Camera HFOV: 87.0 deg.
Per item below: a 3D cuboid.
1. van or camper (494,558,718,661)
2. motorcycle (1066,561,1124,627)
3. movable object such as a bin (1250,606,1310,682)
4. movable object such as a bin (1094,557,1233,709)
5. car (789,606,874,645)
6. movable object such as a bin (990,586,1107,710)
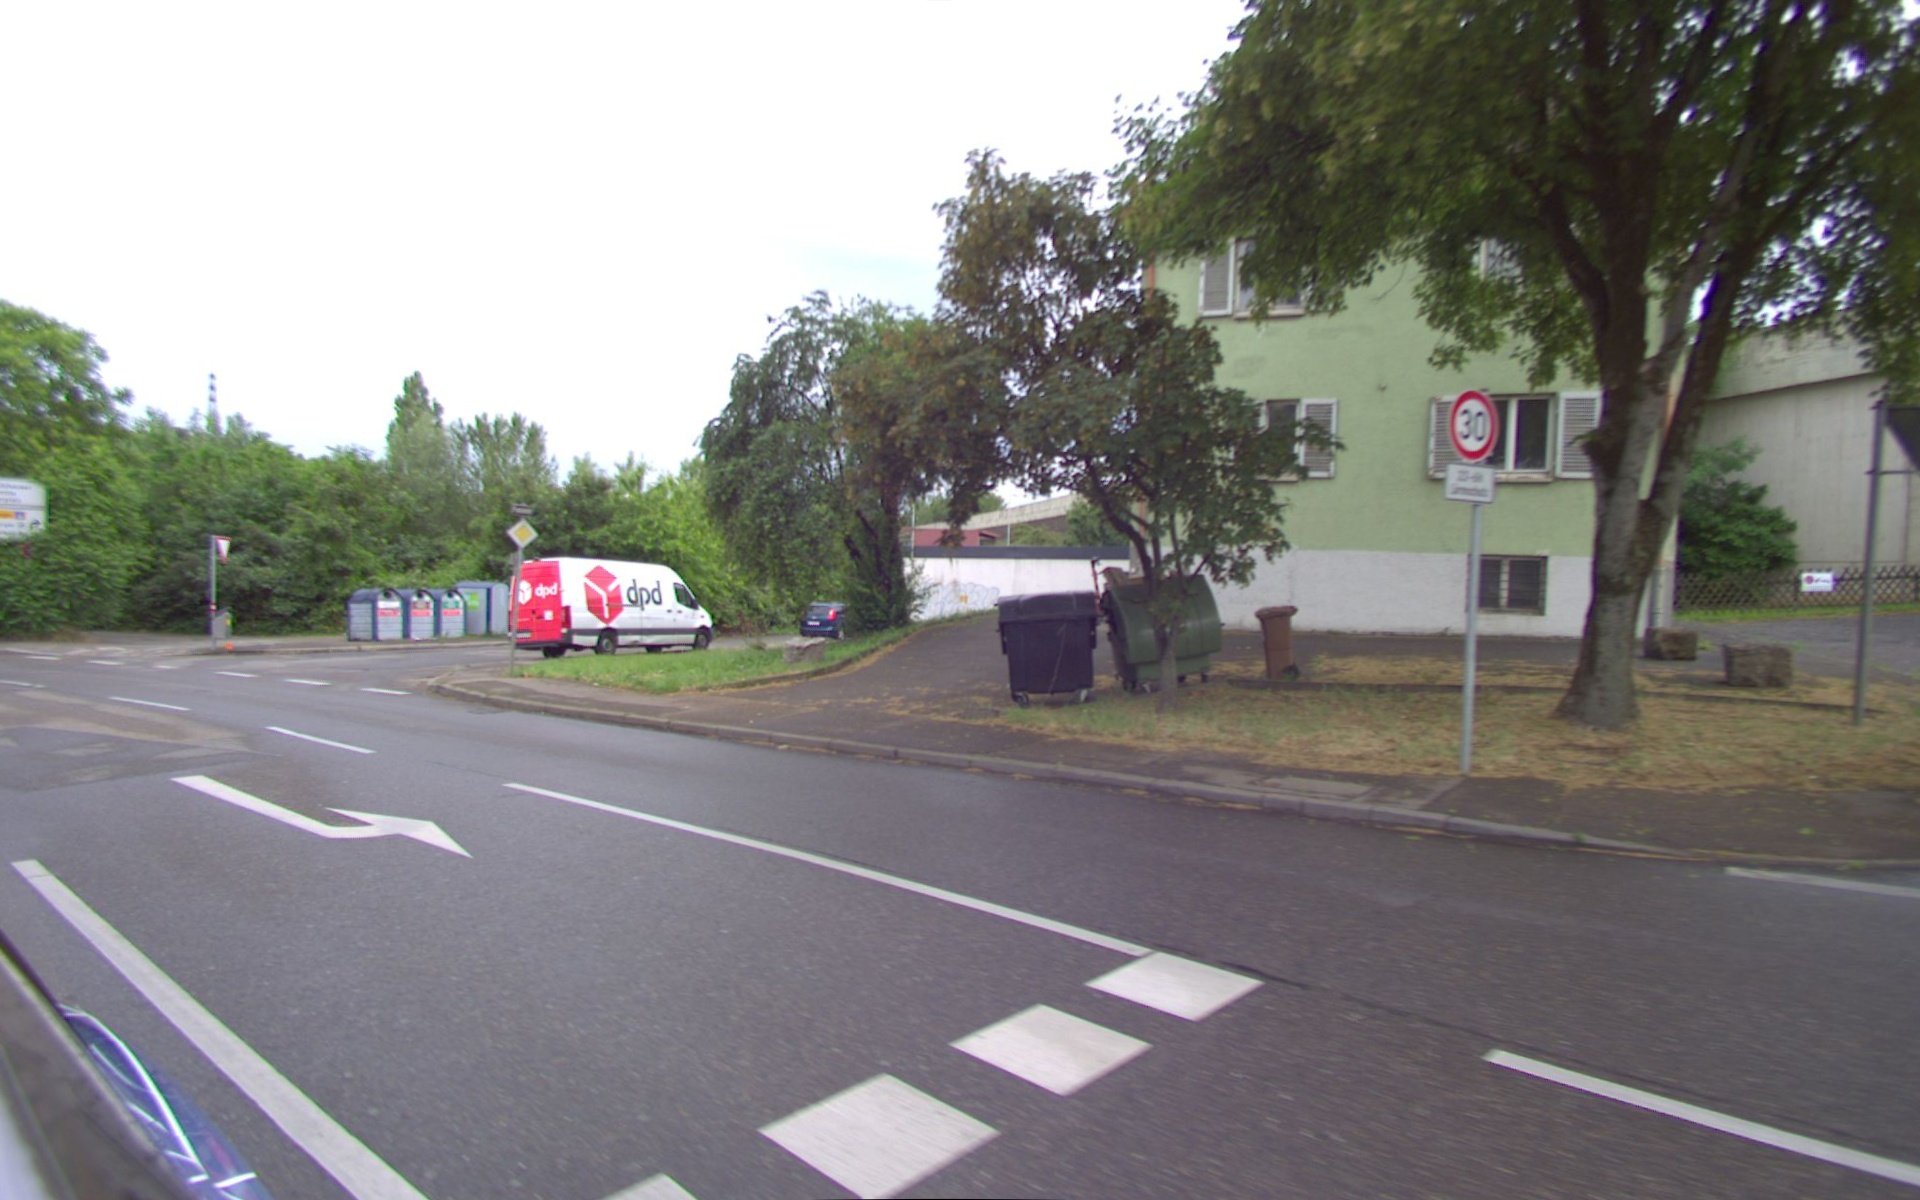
[{"bbox_3d":[-9.614,0.244,28.349,2.207,2.541,6.651,0,0,20],"label":"van or camper"},{"bbox_3d":[2.688,-0.148,20.096,0.431,1.205,1.463,3,6,40],"label":"motorcycle"},{"bbox_3d":[4.095,0.553,12.962,0.555,0.917,0.541,-3,0,3],"label":"movable object such as a bin"},{"bbox_3d":[2.584,0.405,13.124,1.434,1.774,1.577,-3,0,3],"label":"movable object such as a bin"},{"bbox_3d":[-5.400,1.032,42.996,1.985,1.541,4.042,0,0,20],"label":"car"},{"bbox_3d":[1.109,0.591,13.161,1.359,1.452,1.471,-3,0,3],"label":"movable object such as a bin"}]
